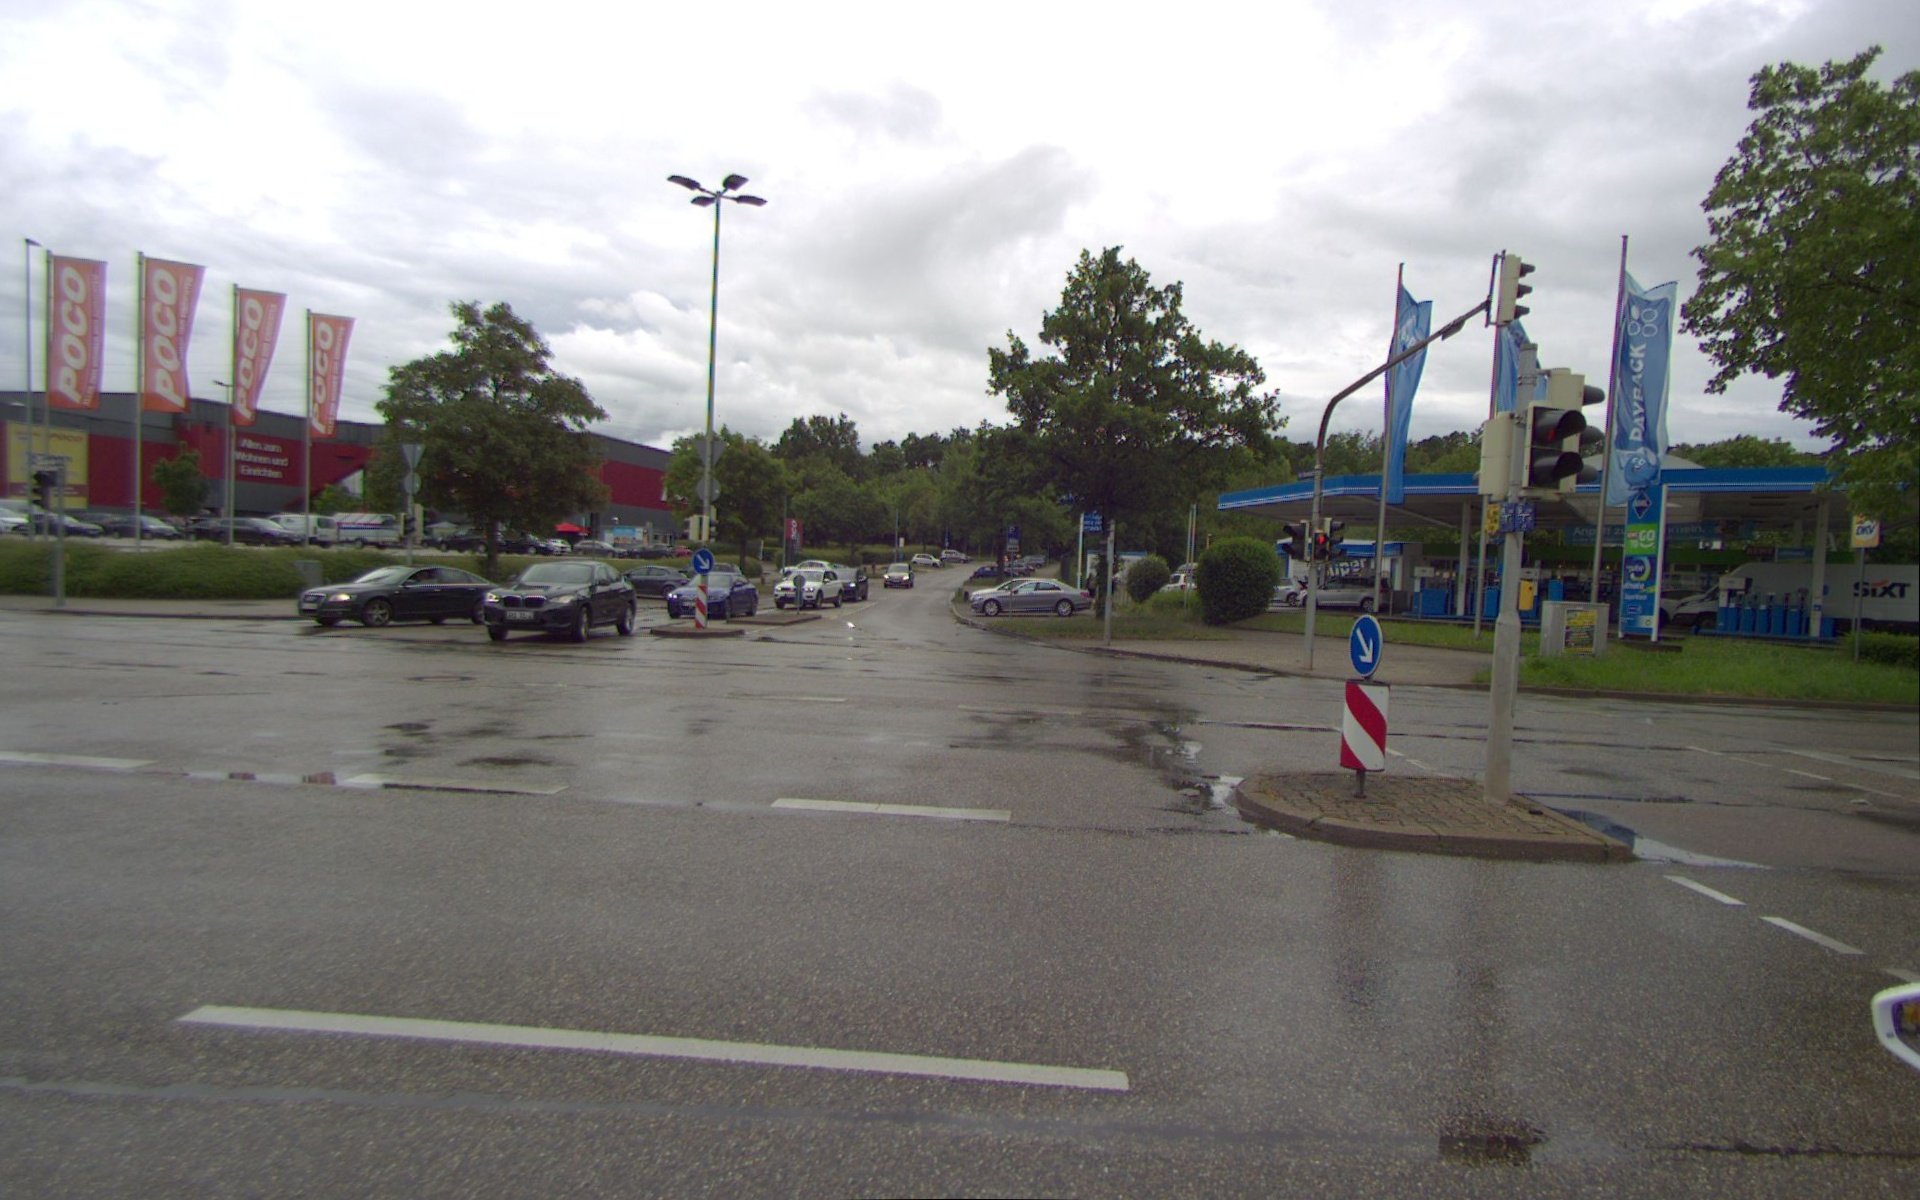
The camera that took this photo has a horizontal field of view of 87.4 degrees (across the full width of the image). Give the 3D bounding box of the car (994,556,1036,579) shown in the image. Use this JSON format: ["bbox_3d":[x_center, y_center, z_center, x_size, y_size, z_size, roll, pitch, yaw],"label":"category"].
[{"bbox_3d":[4.977,-2.909,90.370,3.636,1.773,1.698,3,1,4],"label":"car"}]

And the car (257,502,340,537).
[{"bbox_3d":[-36.741,-4.468,55.794,3.749,1.667,1.633,3,1,10],"label":"car"}]

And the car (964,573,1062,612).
[{"bbox_3d":[2.482,-0.361,47.432,4.496,1.610,1.930,3,1,2],"label":"car"}]

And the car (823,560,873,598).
[{"bbox_3d":[-5.497,-1.050,49.684,1.569,1.719,3.541,3,2,7],"label":"car"}]

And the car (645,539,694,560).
[{"bbox_3d":[-25.613,-4.461,88.498,3.749,1.667,1.674,3,1,10],"label":"car"}]

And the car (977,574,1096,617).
[{"bbox_3d":[3.150,-0.195,42.015,4.804,1.569,2.000,2,1,2],"label":"car"}]

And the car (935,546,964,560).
[{"bbox_3d":[-1.463,-6.722,144.197,3.919,1.818,1.857,2,1,7],"label":"car"}]

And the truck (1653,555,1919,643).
[{"bbox_3d":[28.641,-0.099,34.605,7.742,2.711,2.148,3,1,35],"label":"truck"}]

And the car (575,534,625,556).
[{"bbox_3d":[-31.136,-4.745,86.909,3.749,1.667,1.674,3,1,10],"label":"car"}]

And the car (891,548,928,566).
[{"bbox_3d":[-5.672,-4.811,113.756,3.920,1.818,1.857,2,1,2],"label":"car"}]

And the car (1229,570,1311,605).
[{"bbox_3d":[17.211,-0.721,55.770,3.935,1.751,1.788,3,1,37],"label":"car"}]

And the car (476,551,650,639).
[{"bbox_3d":[-8.180,-0.139,21.214,1.864,1.574,4.591,3,1,-1],"label":"car"}]

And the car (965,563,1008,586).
[{"bbox_3d":[2.217,-2.128,83.852,3.401,1.676,1.617,3,1,4],"label":"car"}]

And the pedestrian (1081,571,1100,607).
[{"bbox_3d":[6.180,-0.528,47.716,0.795,1.683,0.887,2,1,4],"label":"pedestrian"}]

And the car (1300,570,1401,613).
[{"bbox_3d":[18.632,-0.441,48.033,4.064,1.832,1.937,4,4,38],"label":"car"}]

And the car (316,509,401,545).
[{"bbox_3d":[-44.622,-5.429,74.532,5.533,2.334,1.827,3,1,10],"label":"car"}]

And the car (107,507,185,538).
[{"bbox_3d":[-51.069,-4.843,63.026,3.882,1.667,1.674,3,1,10],"label":"car"}]

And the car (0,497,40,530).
[{"bbox_3d":[-53.424,-4.847,55.586,3.882,1.667,1.674,3,1,10],"label":"car"}]

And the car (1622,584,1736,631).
[{"bbox_3d":[28.932,0.276,40.469,3.510,1.603,1.681,6,3,41],"label":"car"}]

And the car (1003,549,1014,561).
[{"bbox_3d":[8.233,-7.574,170.120,1.774,1.762,4.001,3,1,4],"label":"car"}]

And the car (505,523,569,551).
[{"bbox_3d":[-29.243,-4.337,69.469,3.749,1.667,1.674,3,1,10],"label":"car"}]

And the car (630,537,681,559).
[{"bbox_3d":[-25.980,-4.434,85.734,3.749,1.667,1.674,3,1,10],"label":"car"}]

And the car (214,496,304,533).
[{"bbox_3d":[-36.829,-4.478,52.806,3.749,1.667,1.674,3,1,10],"label":"car"}]

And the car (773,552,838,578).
[{"bbox_3d":[-10.969,-2.487,71.295,4.199,1.631,1.685,3,1,6],"label":"car"}]

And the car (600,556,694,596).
[{"bbox_3d":[-13.880,-1.057,44.615,3.588,1.574,1.685,3,1,2],"label":"car"}]

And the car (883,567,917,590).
[{"bbox_3d":[-4.198,-1.493,70.766,1.668,1.475,3.675,2,1,7],"label":"car"}]

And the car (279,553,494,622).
[{"bbox_3d":[-13.207,-0.271,23.354,1.756,1.423,3.993,3,1,30],"label":"car"}]

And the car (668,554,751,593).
[{"bbox_3d":[-12.457,-1.317,50.065,3.588,1.747,1.685,3,1,2],"label":"car"}]

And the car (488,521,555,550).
[{"bbox_3d":[-29.098,-4.282,66.692,3.749,1.667,1.674,3,1,10],"label":"car"}]

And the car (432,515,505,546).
[{"bbox_3d":[-30.245,-4.263,61.812,3.749,1.667,1.674,3,1,10],"label":"car"}]

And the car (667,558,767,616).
[{"bbox_3d":[-7.698,-0.411,32.272,1.765,1.655,4.553,3,1,4],"label":"car"}]

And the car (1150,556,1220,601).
[{"bbox_3d":[9.987,-0.975,44.841,1.781,1.821,3.694,3,1,-8],"label":"car"}]

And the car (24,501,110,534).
[{"bbox_3d":[-51.940,-4.813,58.444,3.882,1.667,1.674,3,1,10],"label":"car"}]

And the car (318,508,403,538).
[{"bbox_3d":[-32.928,-4.204,55.236,3.830,1.399,1.674,3,1,10],"label":"car"}]

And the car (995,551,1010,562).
[{"bbox_3d":[6.156,-6.290,145.532,1.776,1.502,3.753,3,1,9],"label":"car"}]

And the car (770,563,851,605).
[{"bbox_3d":[-6.065,-0.616,41.220,1.863,1.574,4.002,2,0,13],"label":"car"}]

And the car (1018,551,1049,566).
[{"bbox_3d":[9.457,-5.330,129.914,3.920,1.762,1.811,3,1,3],"label":"car"}]
